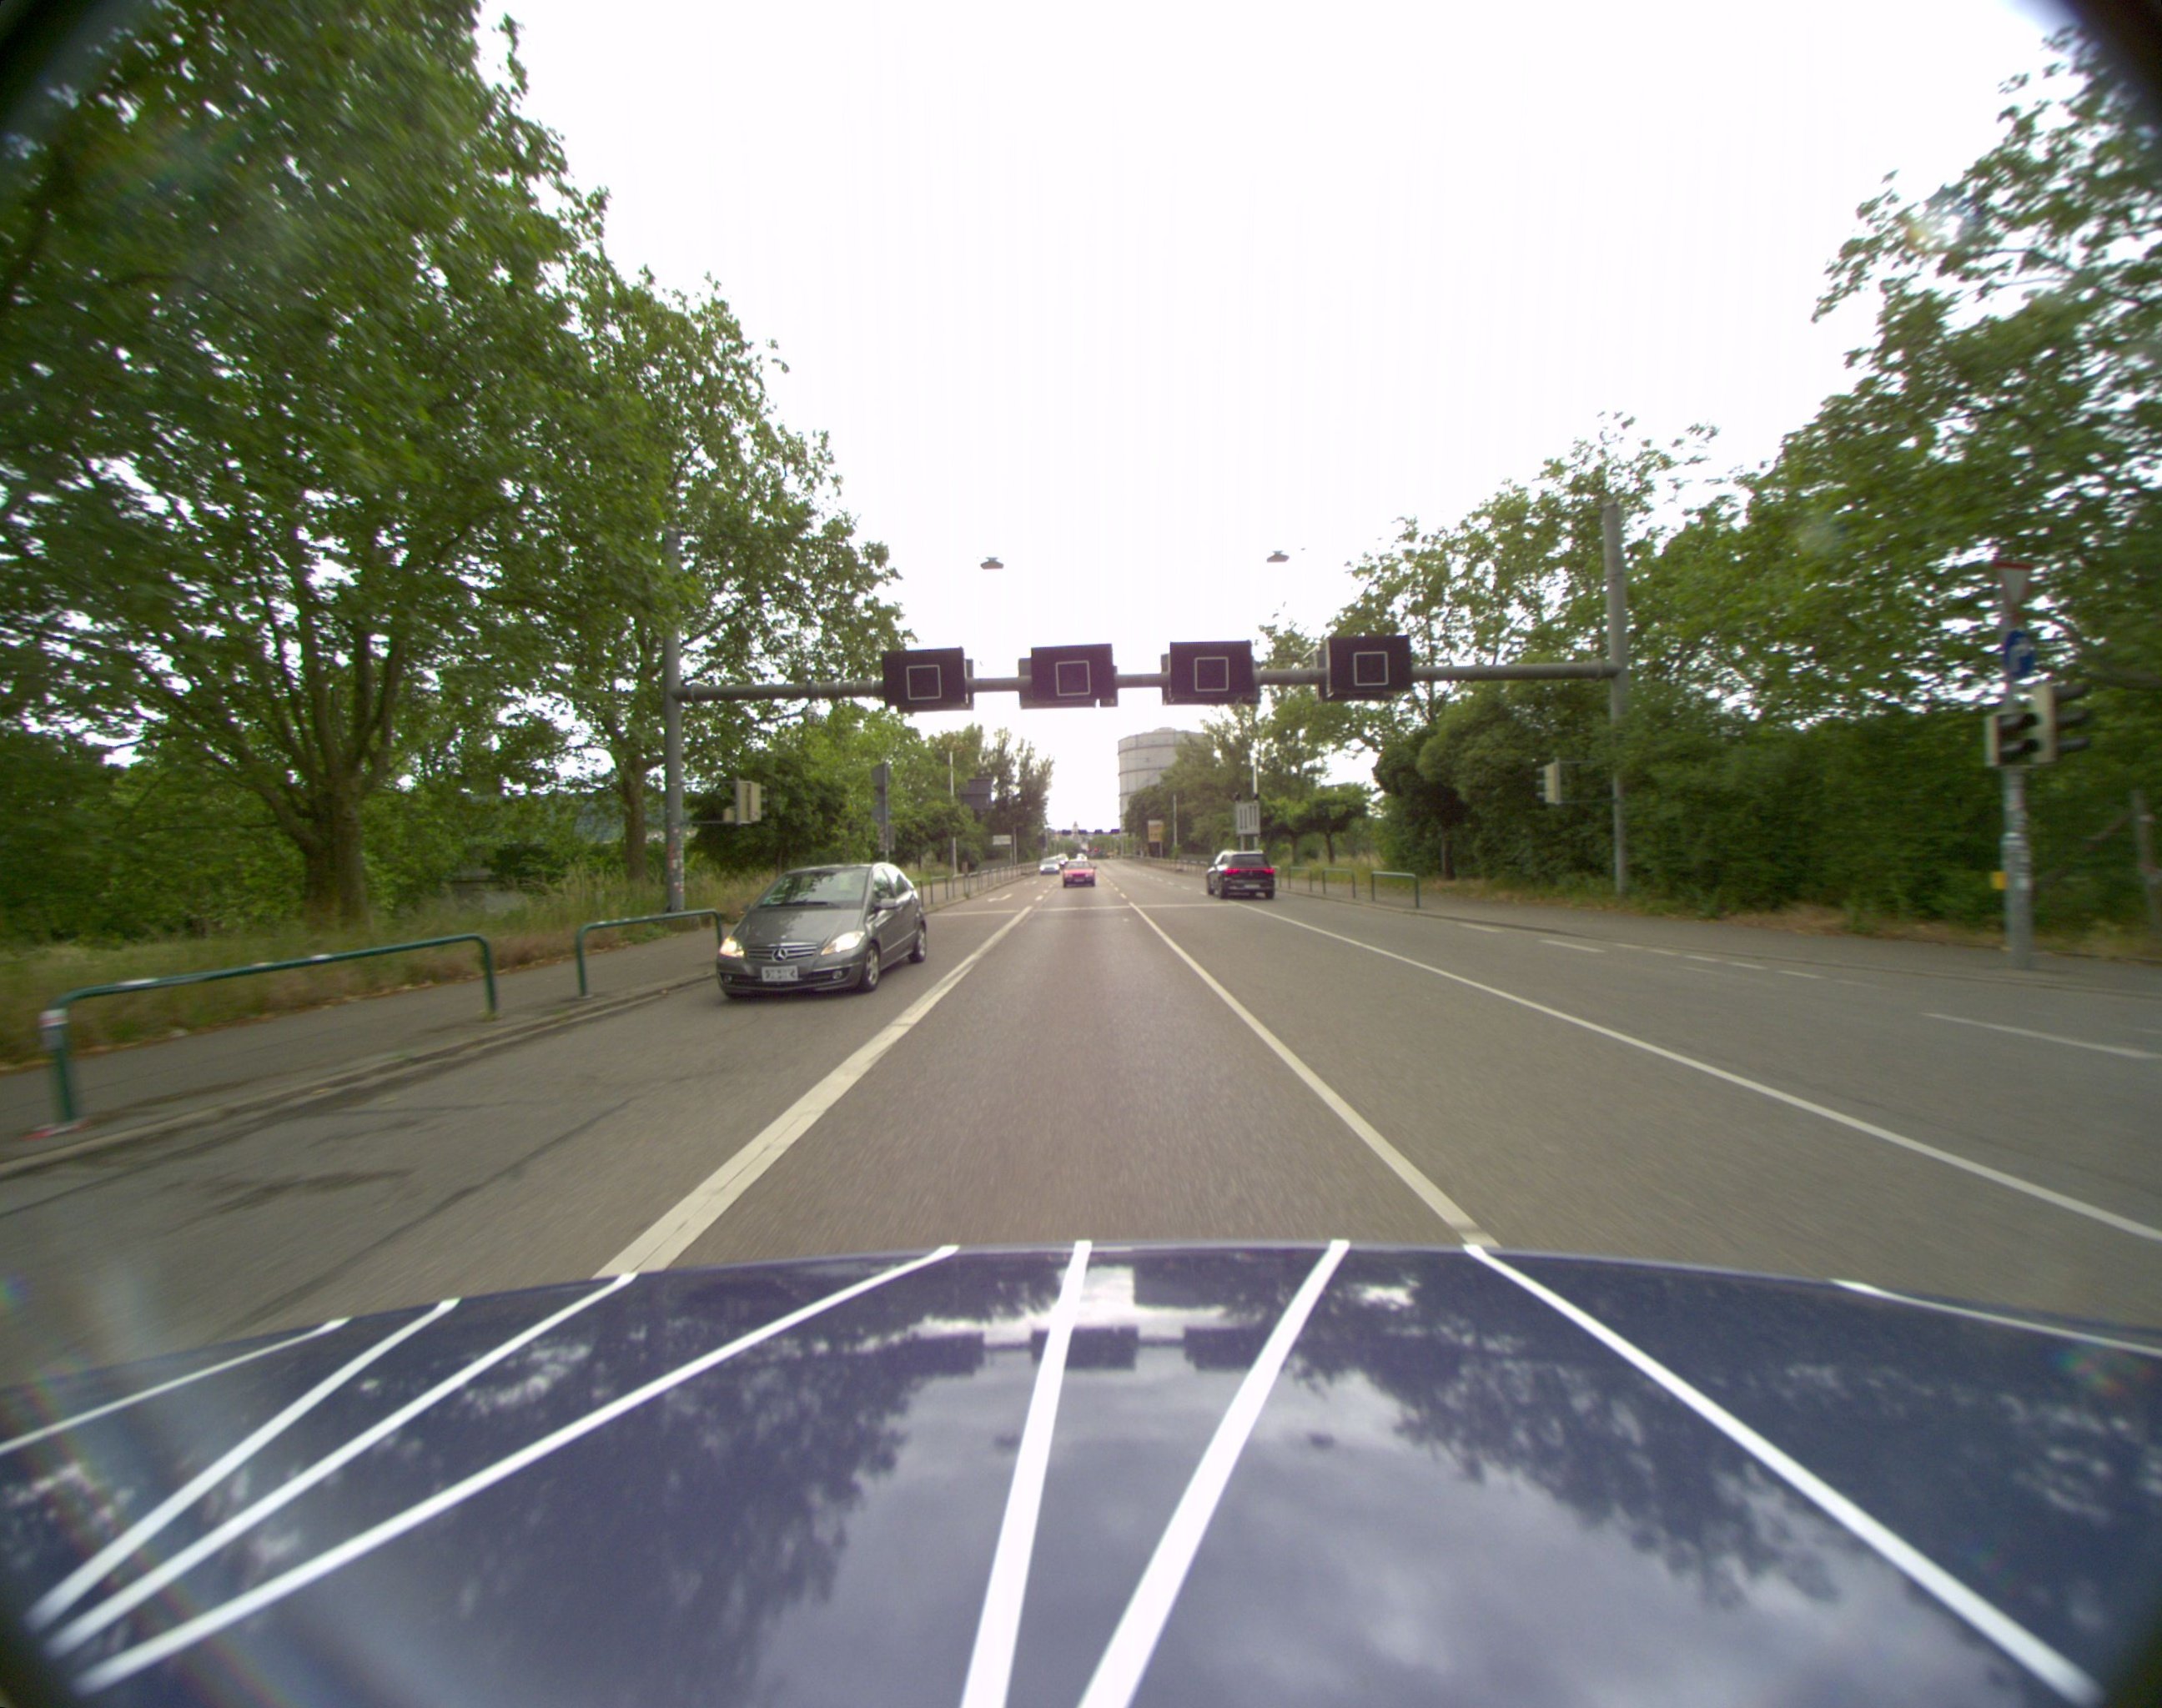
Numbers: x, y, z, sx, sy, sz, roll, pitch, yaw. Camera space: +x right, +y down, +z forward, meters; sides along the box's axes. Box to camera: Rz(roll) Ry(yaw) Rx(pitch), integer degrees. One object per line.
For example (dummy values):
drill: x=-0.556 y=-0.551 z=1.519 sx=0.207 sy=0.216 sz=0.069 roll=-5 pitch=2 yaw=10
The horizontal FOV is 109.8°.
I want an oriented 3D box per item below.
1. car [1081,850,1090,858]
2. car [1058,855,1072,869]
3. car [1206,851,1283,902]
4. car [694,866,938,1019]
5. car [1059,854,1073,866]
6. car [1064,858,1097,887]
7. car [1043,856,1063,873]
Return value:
car: x=1.057 y=-0.067 z=192.083 sx=1.998 sy=1.792 sz=4.001 roll=-3 pitch=0 yaw=4
car: x=-2.046 y=1.015 z=99.425 sx=1.776 sy=1.696 sz=4.000 roll=-3 pitch=0 yaw=-1
car: x=5.702 y=0.721 z=27.063 sx=1.998 sy=1.650 sz=4.518 roll=0 pitch=0 yaw=3
car: x=-3.307 y=1.005 z=10.391 sx=1.831 sy=1.606 sz=4.034 roll=-2 pitch=-1 yaw=1
car: x=-2.293 y=0.918 z=118.714 sx=1.998 sy=1.775 sz=4.001 roll=-2 pitch=0 yaw=2
car: x=-0.013 y=0.953 z=40.429 sx=1.696 sy=1.434 sz=4.000 roll=0 pitch=0 yaw=0
car: x=-2.644 y=0.990 z=72.398 sx=1.771 sy=1.565 sz=4.000 roll=-1 pitch=0 yaw=1
